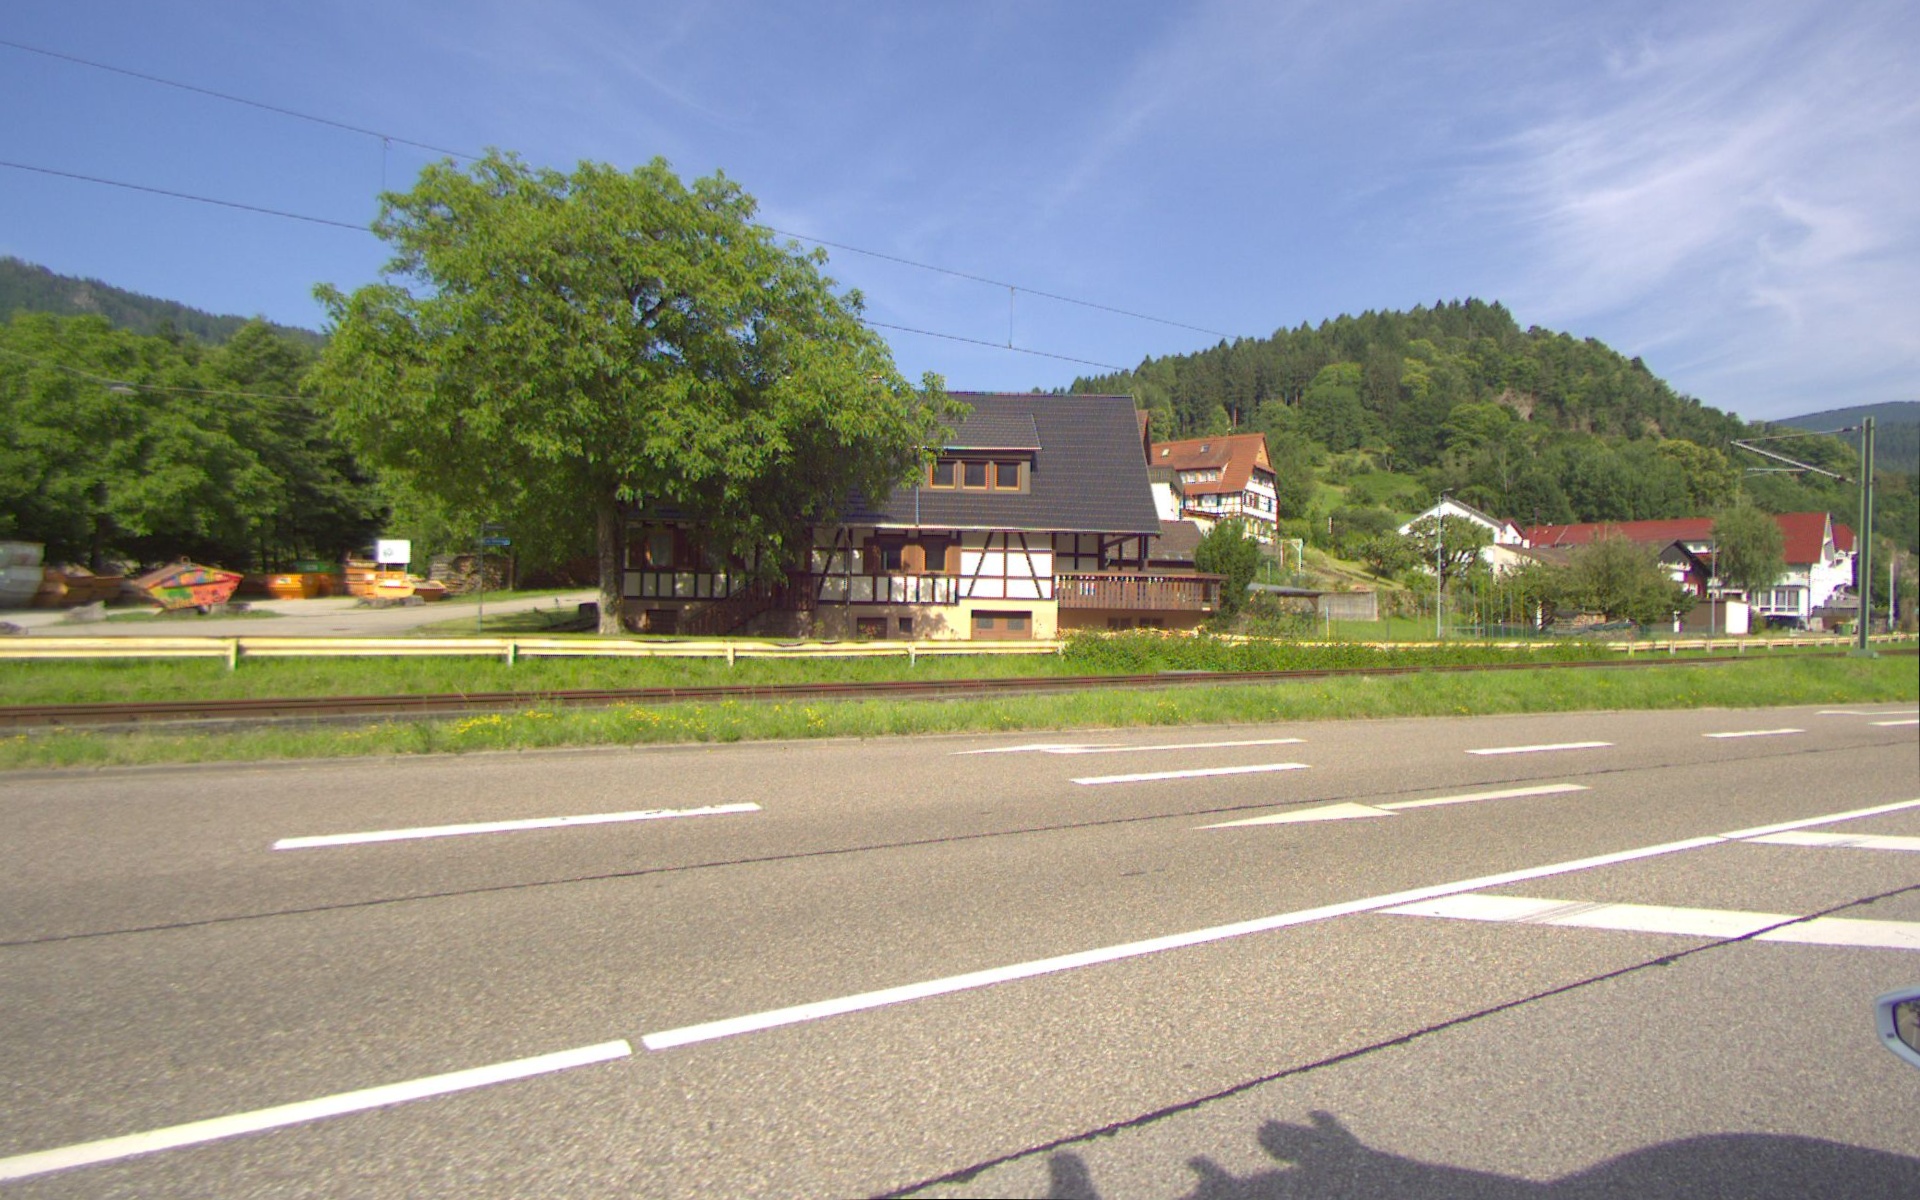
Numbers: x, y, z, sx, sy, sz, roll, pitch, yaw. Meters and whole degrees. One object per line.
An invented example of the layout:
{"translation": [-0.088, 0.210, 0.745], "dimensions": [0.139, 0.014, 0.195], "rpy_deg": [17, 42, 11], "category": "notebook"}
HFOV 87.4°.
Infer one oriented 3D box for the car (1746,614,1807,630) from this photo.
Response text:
{"translation": [74.888, 2.010, 92.163], "dimensions": [1.722, 1.287, 4.060], "rpy_deg": [1, 0, -40], "category": "car"}
